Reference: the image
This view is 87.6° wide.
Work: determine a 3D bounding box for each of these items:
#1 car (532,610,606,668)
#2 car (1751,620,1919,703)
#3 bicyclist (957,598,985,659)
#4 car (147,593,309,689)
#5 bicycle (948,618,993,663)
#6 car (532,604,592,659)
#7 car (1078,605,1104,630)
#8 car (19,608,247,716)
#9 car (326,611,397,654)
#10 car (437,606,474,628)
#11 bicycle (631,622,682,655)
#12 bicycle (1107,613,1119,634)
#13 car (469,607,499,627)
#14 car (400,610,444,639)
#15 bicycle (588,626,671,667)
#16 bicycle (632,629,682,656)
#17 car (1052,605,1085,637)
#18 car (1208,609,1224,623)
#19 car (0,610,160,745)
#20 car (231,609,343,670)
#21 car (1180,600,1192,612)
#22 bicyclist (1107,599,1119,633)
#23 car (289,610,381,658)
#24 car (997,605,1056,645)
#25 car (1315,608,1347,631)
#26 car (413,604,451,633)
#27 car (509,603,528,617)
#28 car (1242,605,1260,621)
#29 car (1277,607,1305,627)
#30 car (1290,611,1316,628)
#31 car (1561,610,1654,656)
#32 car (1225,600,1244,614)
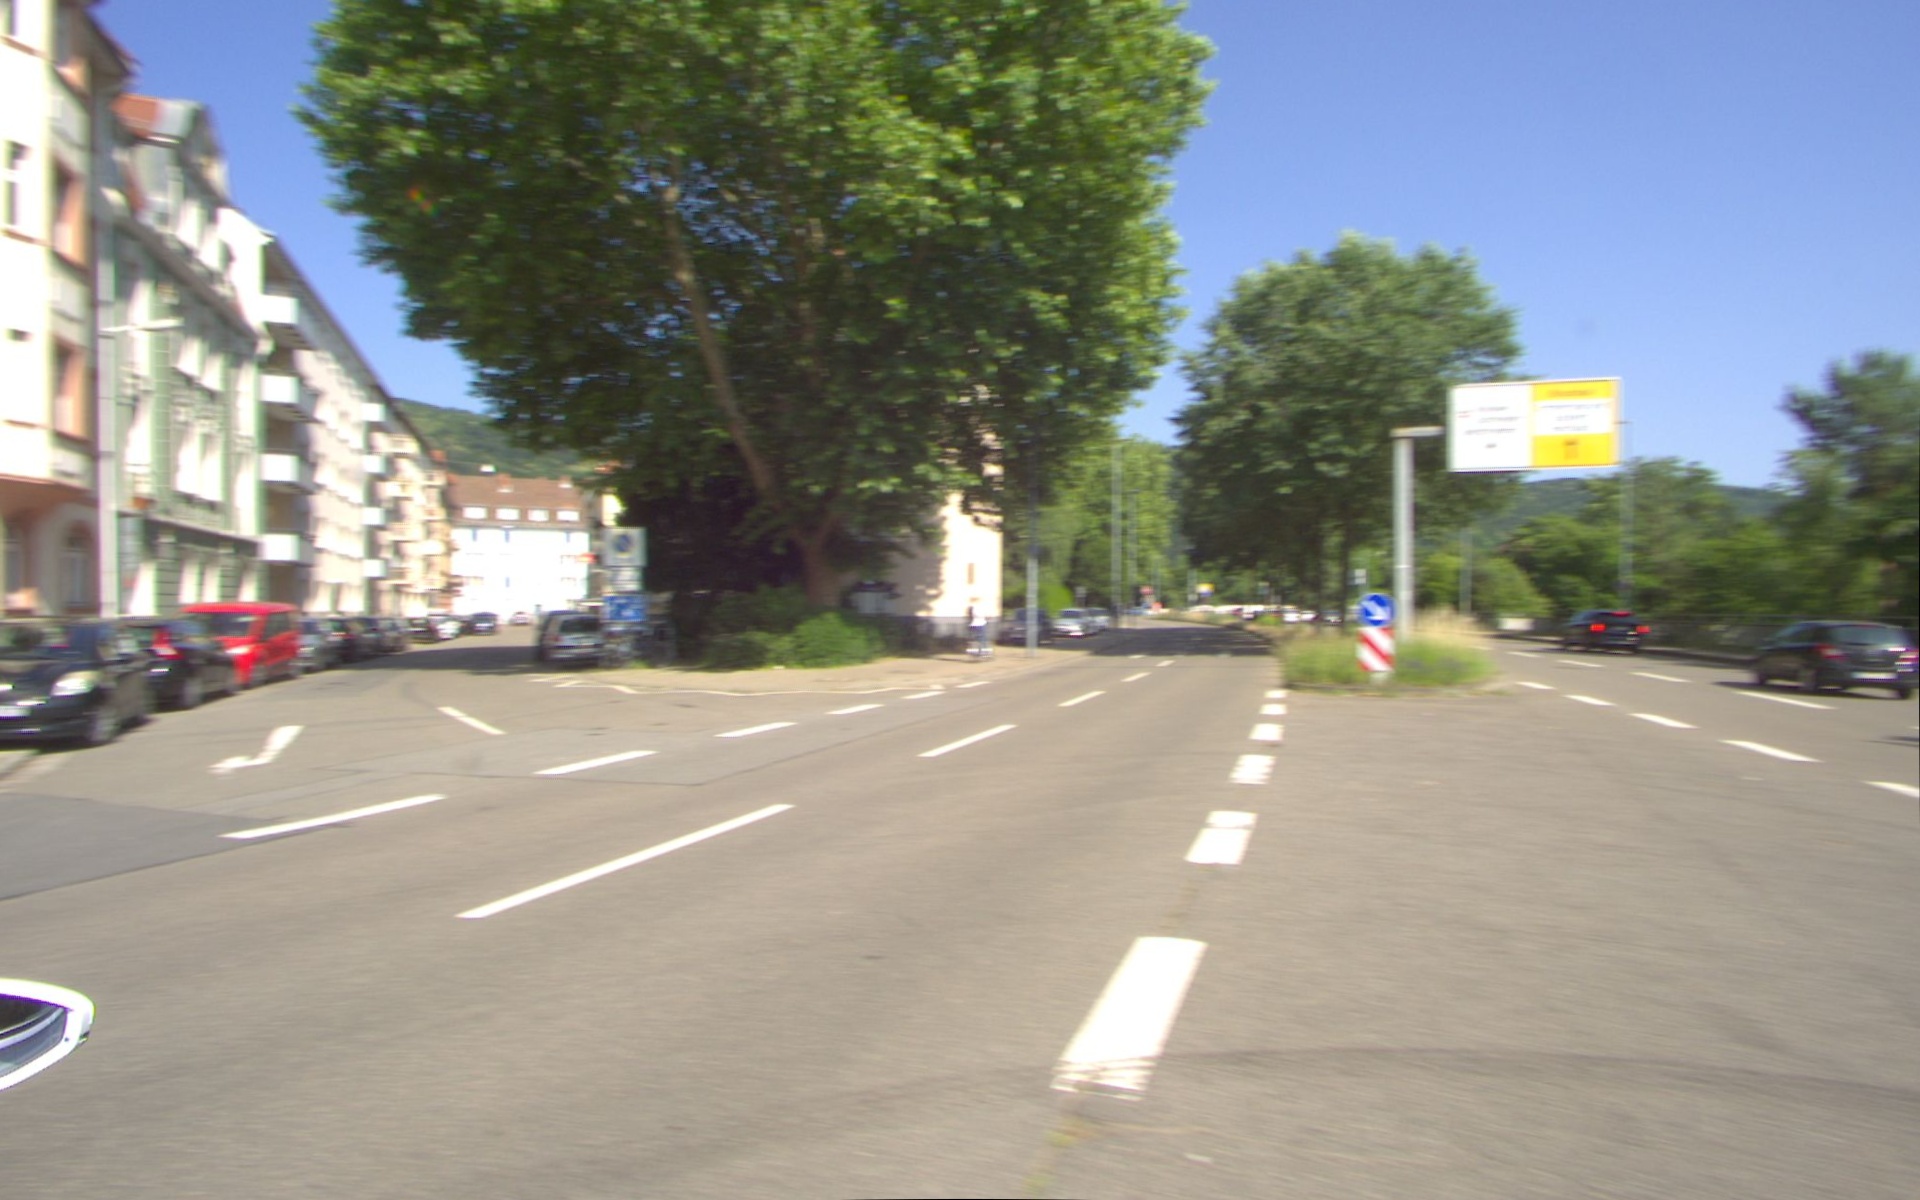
[{"bbox_3d":[-10.757,1.023,27.585,1.780,1.470,3.783,0,0,-21],"label":"car"},{"bbox_3d":[17.754,1.166,20.352,1.652,1.488,3.568,1,0,22],"label":"car"},{"bbox_3d":[0.303,0.787,27.532,0.535,1.655,0.584,1,1,42],"label":"bicyclist"},{"bbox_3d":[-15.798,0.824,21.860,1.841,1.865,4.213,0,0,-22],"label":"car"},{"bbox_3d":[0.304,1.095,27.546,0.547,1.204,1.276,1,0,41],"label":"bicycle"},{"bbox_3d":[-12.992,0.978,32.783,1.725,1.679,3.769,0,0,-21],"label":"car"},{"bbox_3d":[9.178,1.192,69.898,1.741,1.702,3.999,0,0,8],"label":"car"},{"bbox_3d":[-13.752,0.936,16.959,1.957,1.563,4.048,0,0,-24],"label":"car"},{"bbox_3d":[-22.556,1.191,37.849,1.839,1.505,3.985,0,0,-24],"label":"car"},{"bbox_3d":[-35.610,1.180,70.756,1.967,1.497,3.987,0,0,-22],"label":"car"},{"bbox_3d":[-10.025,1.270,33.053,1.550,1.006,0.455,2,1,-24],"label":"bicycle"},{"bbox_3d":[8.697,1.327,56.971,0.649,1.137,1.802,1,0,7],"label":"bicycle"},{"bbox_3d":[-35.739,1.263,75.286,1.725,1.480,3.769,1,0,-21],"label":"car"},{"bbox_3d":[-29.538,1.330,55.075,1.839,1.505,3.848,0,0,-24],"label":"car"},{"bbox_3d":[-8.399,1.166,25.462,1.870,0.997,0.969,1,0,-27],"label":"bicycle"},{"bbox_3d":[-9.711,1.365,32.104,1.483,0.845,0.382,2,1,-24],"label":"bicycle"},{"bbox_3d":[5.669,1.084,52.055,1.615,1.594,3.999,0,0,8],"label":"car"},{"bbox_3d":[33.298,2.062,130.396,1.603,1.835,3.591,1,0,8],"label":"car"},{"bbox_3d":[-11.503,0.867,12.542,1.801,1.466,3.747,1,0,-31],"label":"car"},{"bbox_3d":[-18.054,1.006,27.049,1.839,1.505,3.986,0,0,-24],"label":"car"},{"bbox_3d":[35.693,0.917,158.292,1.603,1.835,3.591,0,0,8],"label":"car"},{"bbox_3d":[8.713,0.910,57.102,0.635,1.919,0.839,1,0,8],"label":"bicyclist"},{"bbox_3d":[-20.607,1.076,33.185,1.838,1.505,3.989,0,-1,-21],"label":"car"},{"bbox_3d":[2.757,0.971,40.709,1.760,1.532,3.890,0,0,13],"label":"car"},{"bbox_3d":[31.952,1.674,86.384,1.962,1.916,3.997,0,0,12],"label":"car"},{"bbox_3d":[-32.113,1.103,61.003,1.839,1.745,3.848,0,0,-24],"label":"car"},{"bbox_3d":[-48.477,1.123,110.076,1.725,1.500,3.769,0,0,-21],"label":"car"},{"bbox_3d":[34.927,1.573,120.421,1.603,1.940,3.679,0,0,9],"label":"car"},{"bbox_3d":[32.852,1.714,99.378,1.961,1.916,3.999,0,0,8],"label":"car"},{"bbox_3d":[37.078,2.084,108.324,1.962,1.699,3.999,0,0,9],"label":"car"},{"bbox_3d":[25.738,1.266,39.967,1.888,1.686,4.307,1,0,16],"label":"car"},{"bbox_3d":[38.408,1.019,140.222,1.961,1.892,3.999,2,0,7],"label":"car"}]
